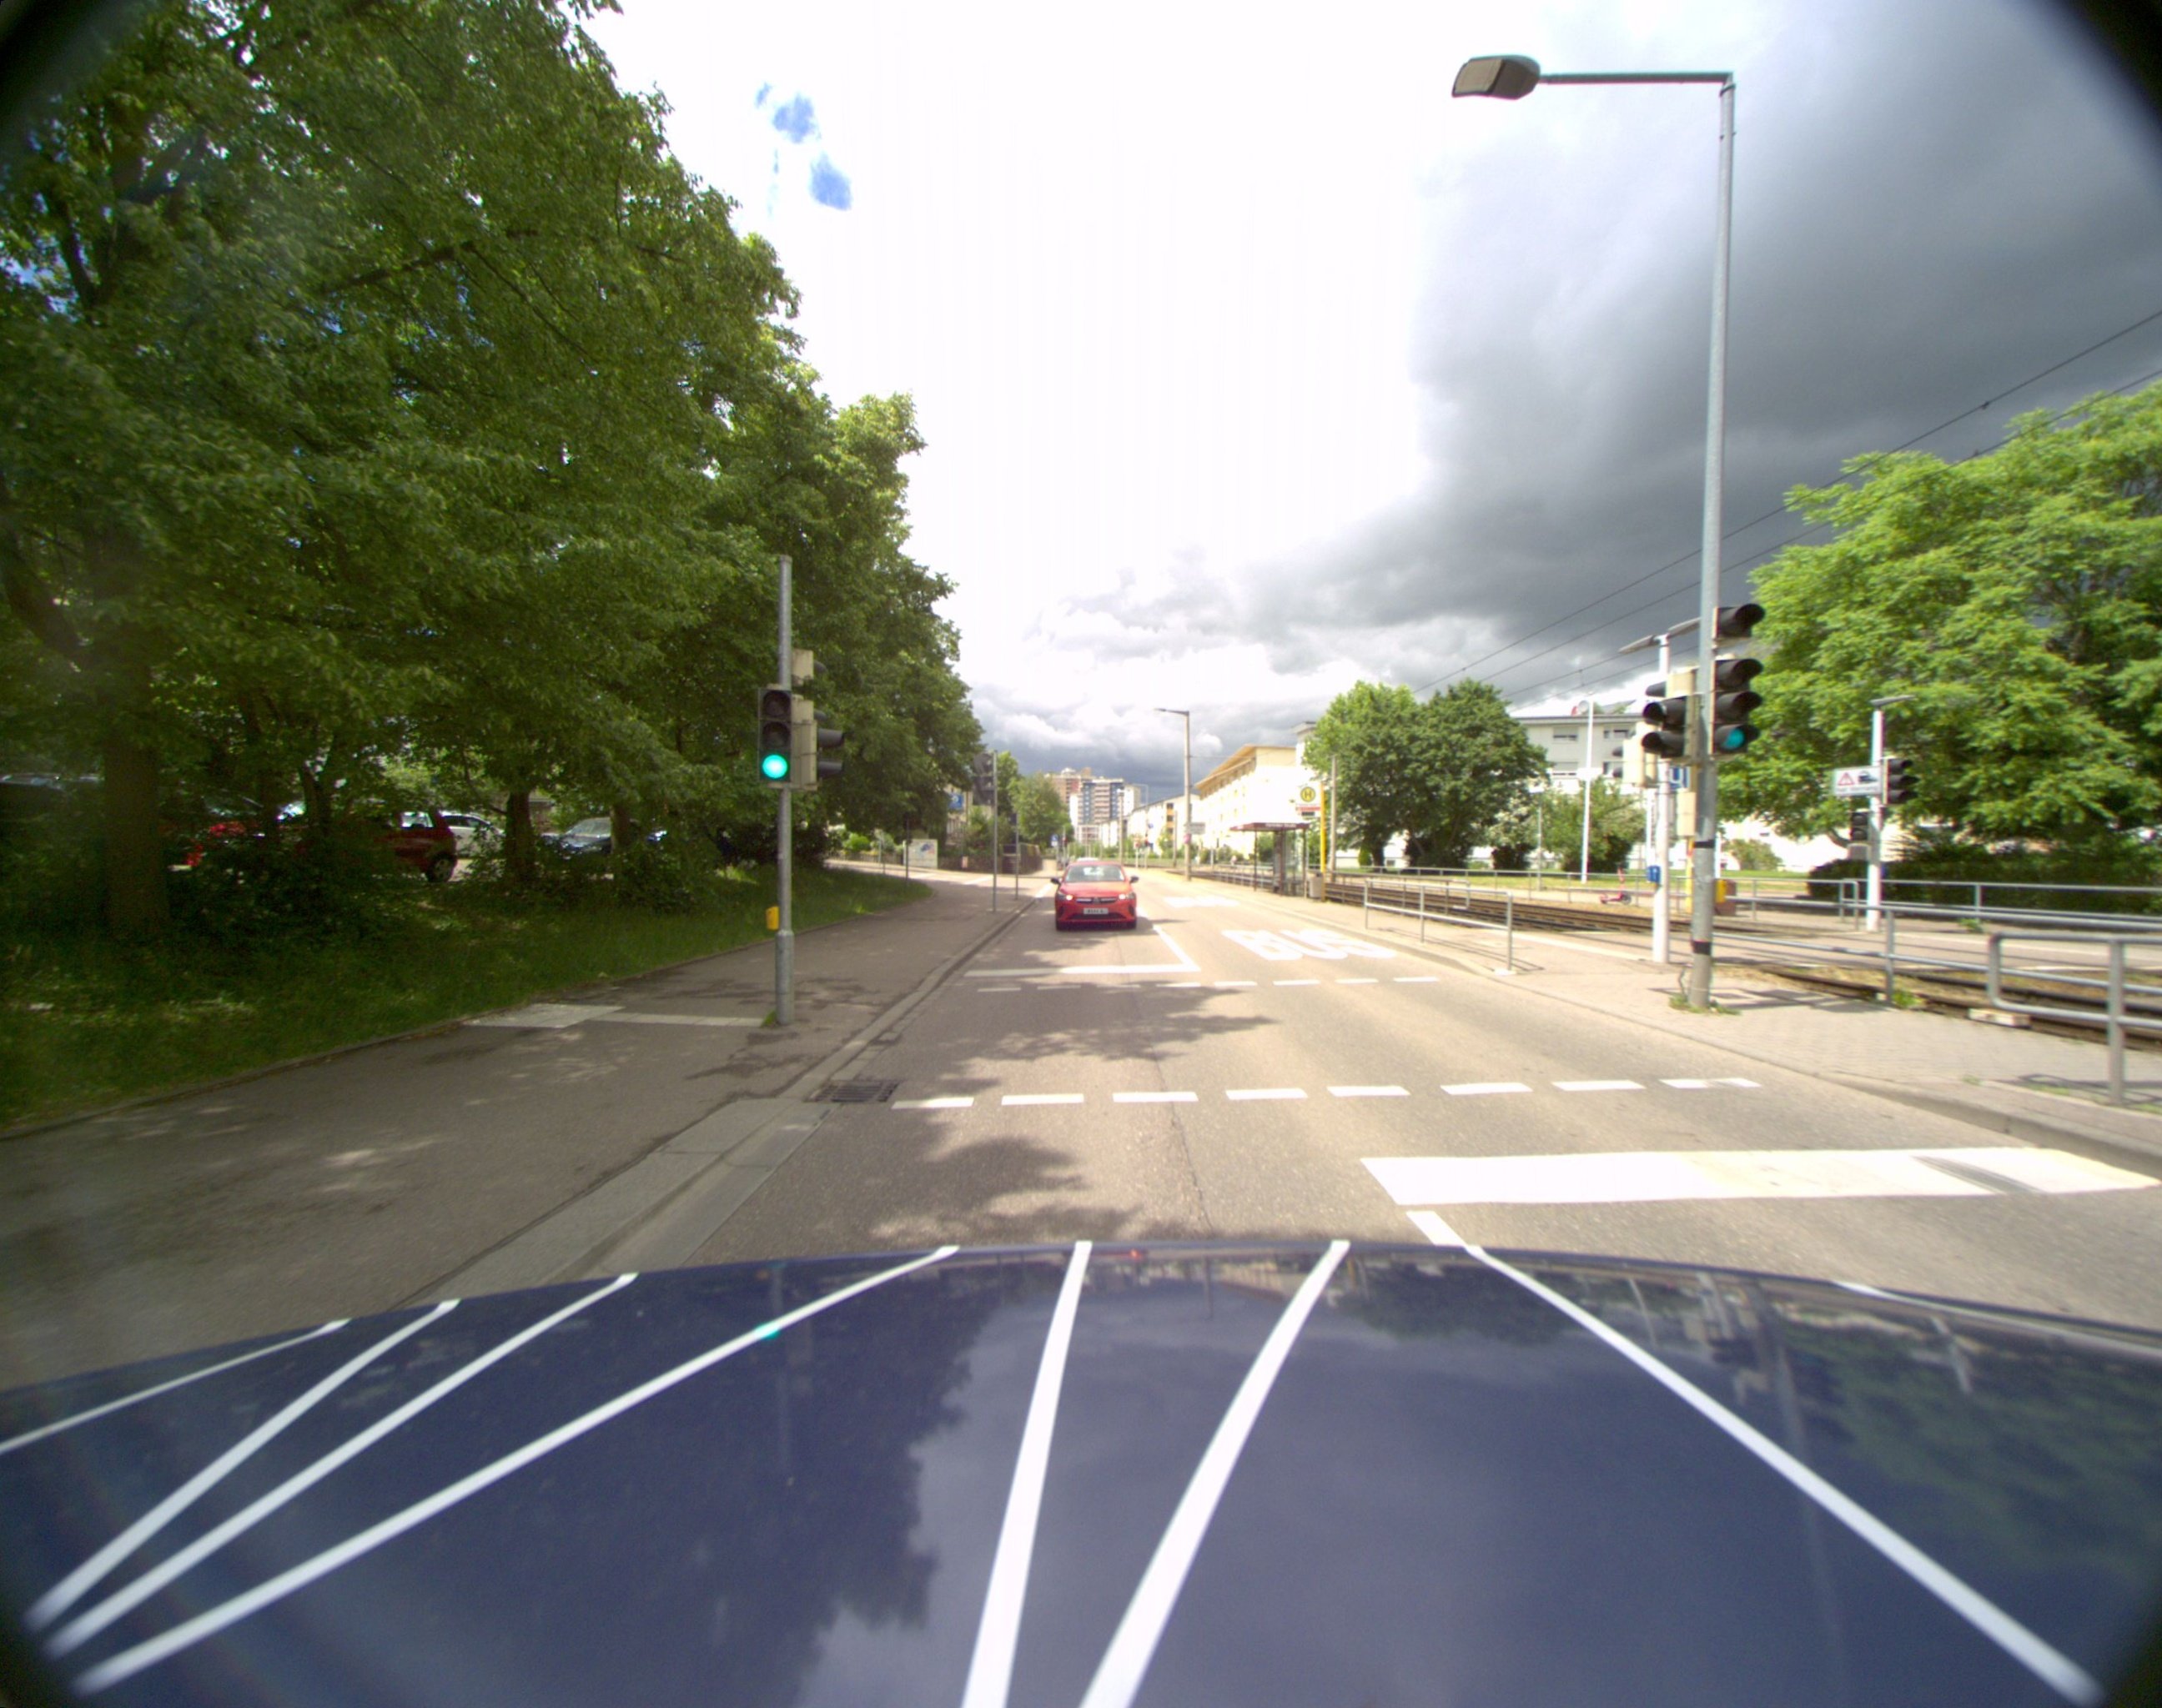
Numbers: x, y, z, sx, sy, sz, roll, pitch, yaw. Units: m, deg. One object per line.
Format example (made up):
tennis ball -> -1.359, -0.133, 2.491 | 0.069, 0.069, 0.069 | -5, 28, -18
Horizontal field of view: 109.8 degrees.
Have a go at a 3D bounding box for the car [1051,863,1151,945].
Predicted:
car -> 0.294, 0.956, 16.303 | 1.783, 1.433, 4.130 | -2, 0, -3

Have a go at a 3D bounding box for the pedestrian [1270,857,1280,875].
pedestrian -> 16.684, 0.993, 65.248 | 0.614, 1.531, 0.874 | -1, 1, -1

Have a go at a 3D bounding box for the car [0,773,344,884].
car -> -15.305, -0.393, 12.989 | 1.756, 1.573, 3.662 | 3, 0, 1

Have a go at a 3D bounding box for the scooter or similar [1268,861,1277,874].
scooter or similar -> 16.673, 1.168, 66.115 | 0.606, 1.108, 0.821 | -1, 1, -1

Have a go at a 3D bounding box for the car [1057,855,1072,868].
car -> -2.225, 0.970, 101.476 | 1.760, 1.570, 4.020 | 1, 0, -3

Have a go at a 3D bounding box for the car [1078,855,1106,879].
car -> 0.661, 0.786, 48.056 | 1.499, 1.477, 3.519 | 1, 0, -3

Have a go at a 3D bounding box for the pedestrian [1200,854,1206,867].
pedestrian -> 15.576, 0.828, 96.703 | 0.605, 1.598, 0.773 | -1, 1, -1

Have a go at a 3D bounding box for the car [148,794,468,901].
car -> -12.806, -0.107, 12.964 | 1.665, 1.492, 3.662 | 3, 0, 1

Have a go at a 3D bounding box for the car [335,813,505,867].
car -> -19.603, -0.463, 22.783 | 1.620, 1.412, 3.925 | 3, 2, 1

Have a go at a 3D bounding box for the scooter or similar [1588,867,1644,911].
scooter or similar -> 15.573, 0.995, 22.163 | 0.651, 1.229, 1.401 | -1, 0, 1

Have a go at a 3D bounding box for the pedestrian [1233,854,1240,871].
pedestrian -> 16.372, 0.893, 79.888 | 0.647, 1.683, 0.679 | -1, 1, 1

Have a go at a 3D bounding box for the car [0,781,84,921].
car -> -12.472, -0.070, 6.777 | 1.630, 1.505, 4.138 | 3, 0, 1

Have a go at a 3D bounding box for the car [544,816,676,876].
car -> -14.531, -0.278, 23.708 | 1.683, 1.626, 3.904 | 4, 2, -2

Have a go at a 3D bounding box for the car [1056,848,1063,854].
car -> -7.152, -1.007, 258.221 | 2.237, 2.050, 4.360 | 1, 0, -3

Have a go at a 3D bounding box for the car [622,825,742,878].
car -> -12.307, -0.138, 23.755 | 1.828, 1.503, 3.812 | 1, 2, -2
